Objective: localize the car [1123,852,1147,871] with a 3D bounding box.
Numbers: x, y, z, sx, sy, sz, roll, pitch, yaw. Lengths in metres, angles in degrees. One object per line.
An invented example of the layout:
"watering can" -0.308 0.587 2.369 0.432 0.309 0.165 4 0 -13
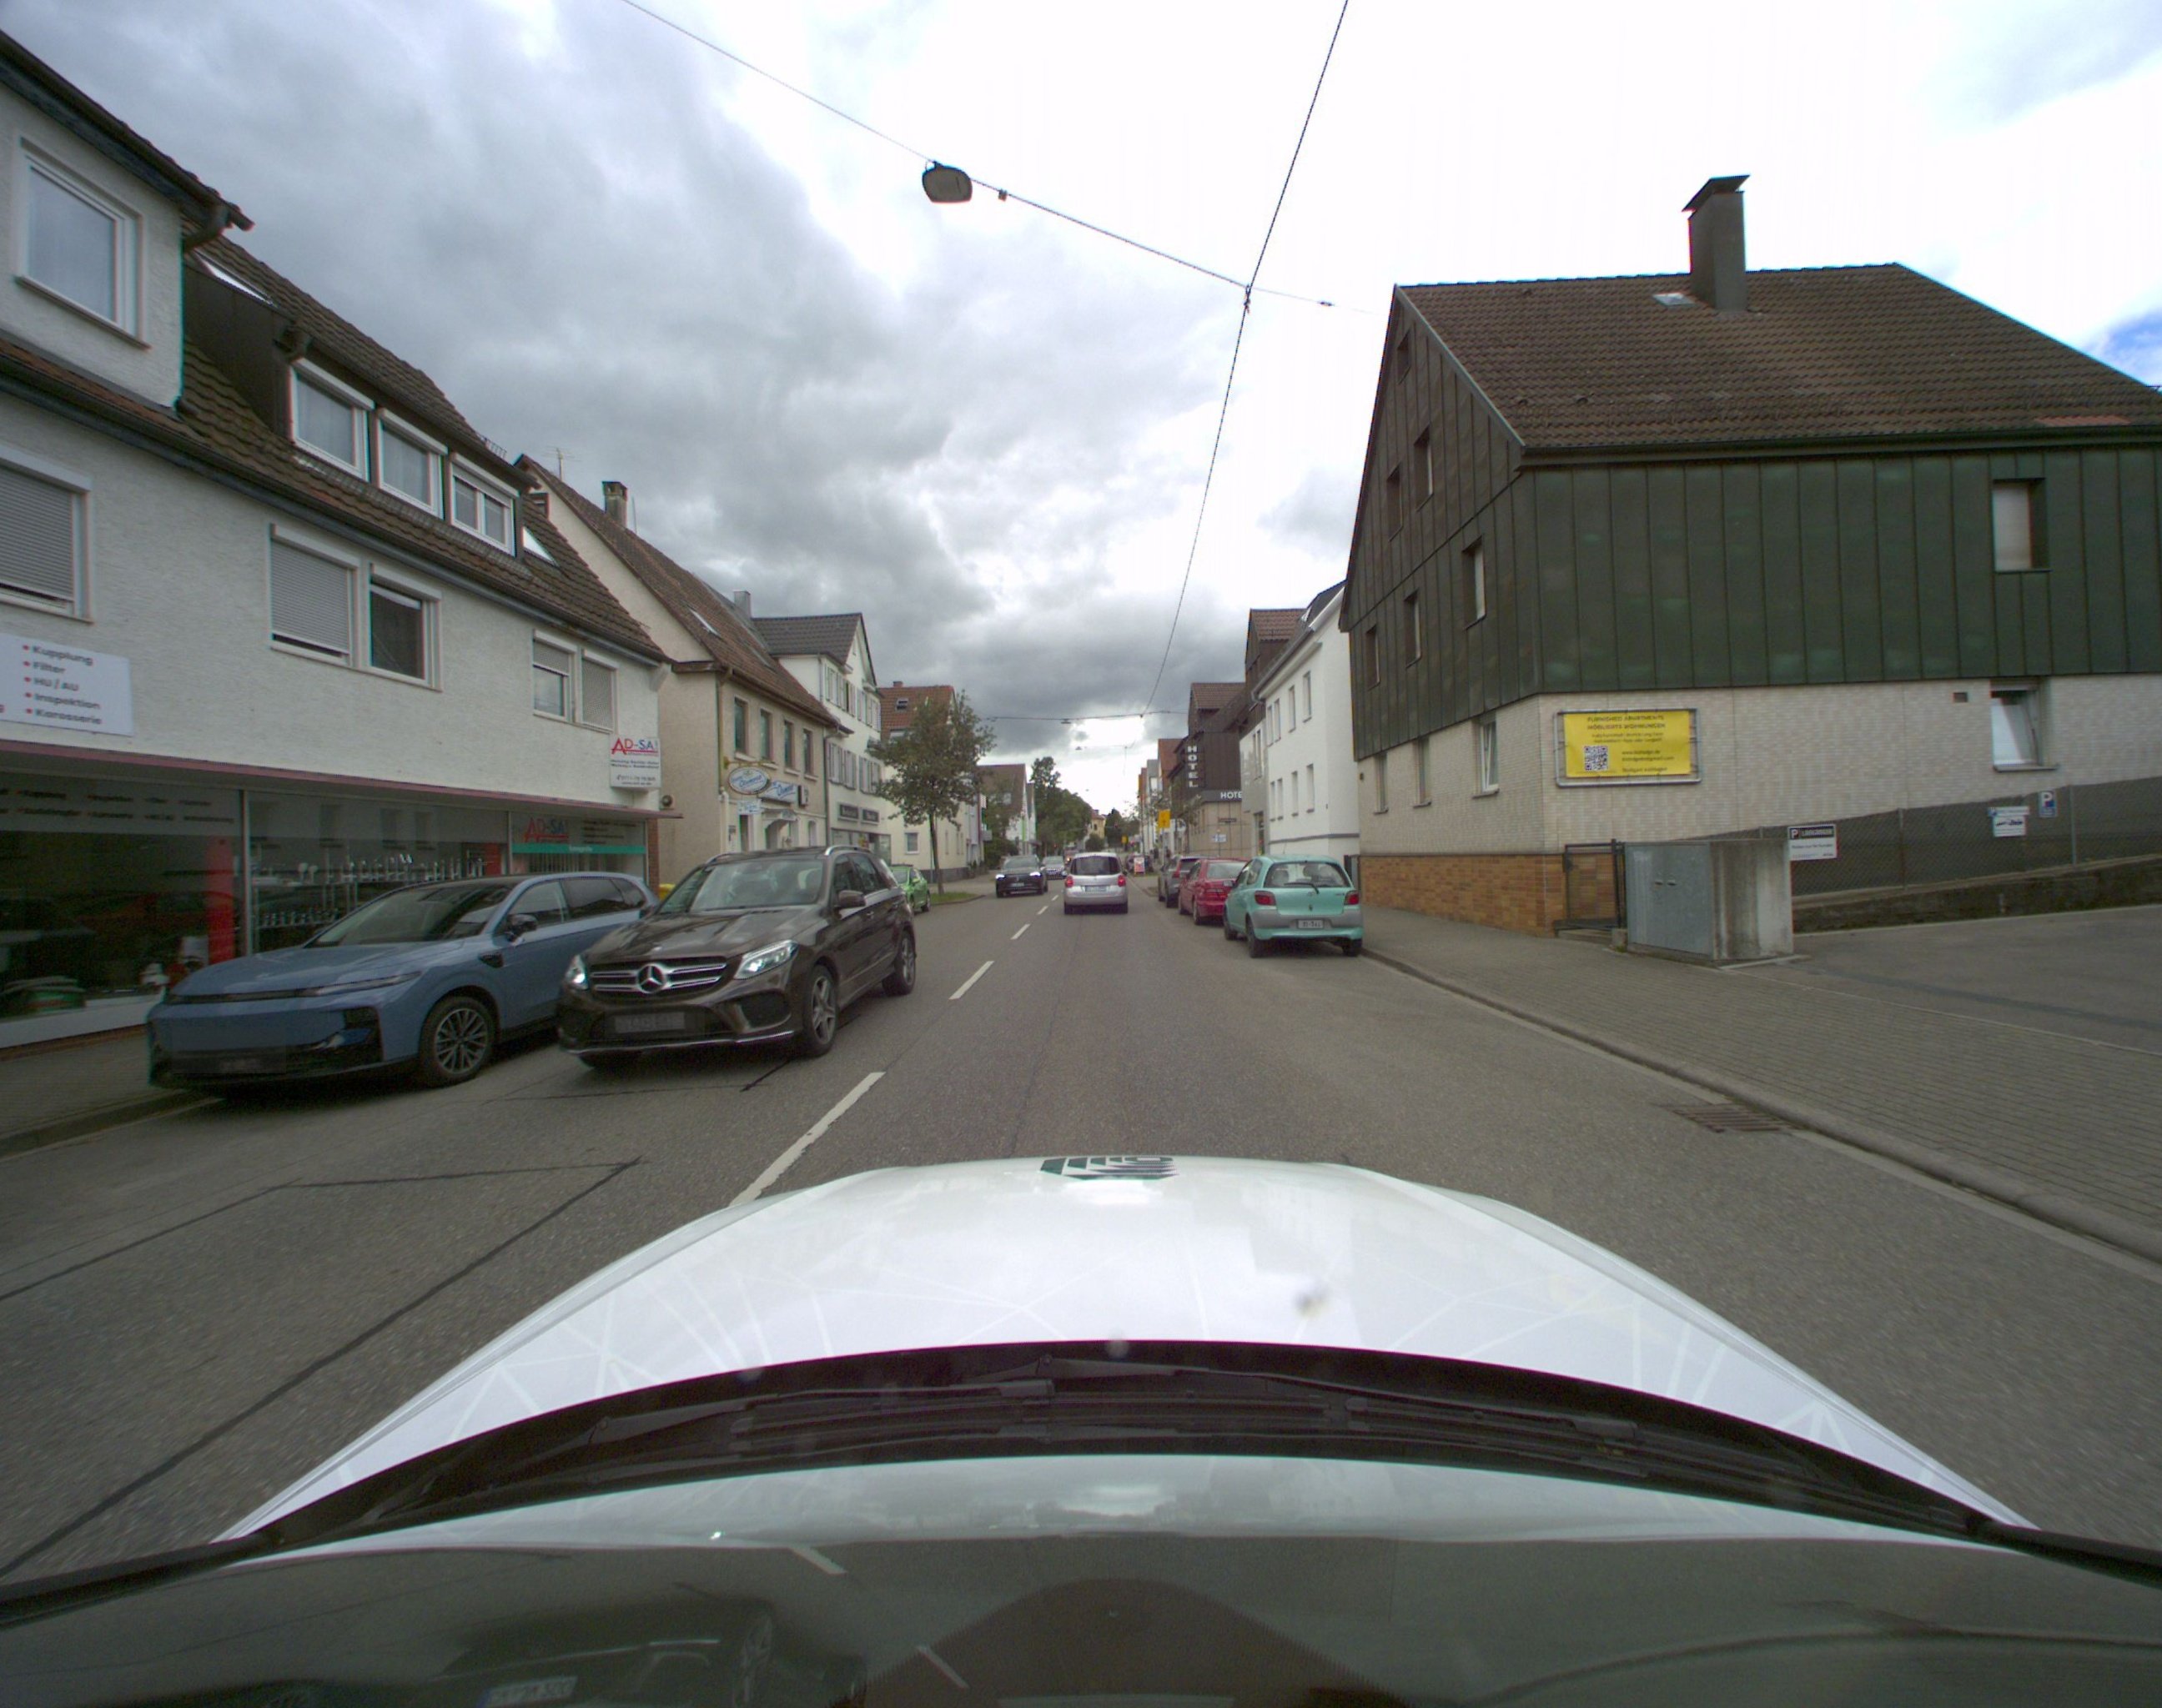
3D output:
"car" 4.378 0.620 66.210 1.695 1.467 4.239 -1 0 1

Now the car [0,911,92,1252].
"car" -5.765 1.076 2.098 1.676 1.499 3.777 -3 0 2

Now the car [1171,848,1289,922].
"car" 3.199 0.616 18.321 1.750 1.445 4.452 -1 0 -1

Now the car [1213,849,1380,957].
"car" 3.344 0.690 13.443 1.824 1.497 3.995 -1 0 2

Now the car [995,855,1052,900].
"car" -2.260 0.887 32.917 1.788 1.578 4.193 -4 0 1

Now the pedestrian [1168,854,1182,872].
"pedestrian" 7.282 0.701 63.102 0.884 1.300 0.967 -6 -1 1

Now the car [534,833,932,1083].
"car" -2.971 0.773 8.186 1.893 1.737 4.368 -3 0 2

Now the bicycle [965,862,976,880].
"bicycle" -7.475 1.128 55.255 0.513 1.153 1.665 -1 0 -1

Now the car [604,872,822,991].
"car" -5.549 1.083 12.832 1.575 1.508 3.814 -1 0 2

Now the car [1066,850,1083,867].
"car" -0.790 0.583 100.018 1.945 2.013 4.001 -1 0 1

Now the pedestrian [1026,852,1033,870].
"pedestrian" -5.642 0.764 89.428 0.759 1.876 0.696 -1 0 1

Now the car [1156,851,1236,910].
"car" 3.285 0.721 24.042 1.868 1.539 4.514 -1 0 2

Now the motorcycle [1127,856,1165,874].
"motorcycle" 4.588 0.767 57.197 2.745 1.183 0.693 -1 0 -29

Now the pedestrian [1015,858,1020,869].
"pedestrian" -7.119 1.058 91.440 0.490 1.278 0.588 -1 0 1

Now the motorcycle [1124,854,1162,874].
"motorcycle" 4.438 0.696 58.246 2.723 1.336 0.693 -1 0 -29

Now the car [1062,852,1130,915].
"car" 0.442 0.742 22.281 1.676 1.566 3.995 -1 0 2

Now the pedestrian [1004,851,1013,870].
"pedestrian" -6.956 0.654 77.933 0.760 1.791 0.890 -1 0 1

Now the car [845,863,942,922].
"car" -5.341 1.042 23.748 1.676 1.447 4.022 -3 0 2

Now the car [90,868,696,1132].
"car" -5.618 1.011 7.586 1.796 1.599 4.306 -3 0 2

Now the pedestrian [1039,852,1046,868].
"pedestrian" -4.705 0.731 99.178 0.714 1.876 0.696 -1 0 1

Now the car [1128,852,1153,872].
"car" 4.449 0.611 61.396 1.695 1.430 3.891 -1 0 1

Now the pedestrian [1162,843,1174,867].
"pedestrian" 7.027 0.070 65.474 0.854 1.928 0.900 -1 0 1

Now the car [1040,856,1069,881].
"car" -1.673 0.914 52.380 1.677 1.447 4.018 -3 0 -1
